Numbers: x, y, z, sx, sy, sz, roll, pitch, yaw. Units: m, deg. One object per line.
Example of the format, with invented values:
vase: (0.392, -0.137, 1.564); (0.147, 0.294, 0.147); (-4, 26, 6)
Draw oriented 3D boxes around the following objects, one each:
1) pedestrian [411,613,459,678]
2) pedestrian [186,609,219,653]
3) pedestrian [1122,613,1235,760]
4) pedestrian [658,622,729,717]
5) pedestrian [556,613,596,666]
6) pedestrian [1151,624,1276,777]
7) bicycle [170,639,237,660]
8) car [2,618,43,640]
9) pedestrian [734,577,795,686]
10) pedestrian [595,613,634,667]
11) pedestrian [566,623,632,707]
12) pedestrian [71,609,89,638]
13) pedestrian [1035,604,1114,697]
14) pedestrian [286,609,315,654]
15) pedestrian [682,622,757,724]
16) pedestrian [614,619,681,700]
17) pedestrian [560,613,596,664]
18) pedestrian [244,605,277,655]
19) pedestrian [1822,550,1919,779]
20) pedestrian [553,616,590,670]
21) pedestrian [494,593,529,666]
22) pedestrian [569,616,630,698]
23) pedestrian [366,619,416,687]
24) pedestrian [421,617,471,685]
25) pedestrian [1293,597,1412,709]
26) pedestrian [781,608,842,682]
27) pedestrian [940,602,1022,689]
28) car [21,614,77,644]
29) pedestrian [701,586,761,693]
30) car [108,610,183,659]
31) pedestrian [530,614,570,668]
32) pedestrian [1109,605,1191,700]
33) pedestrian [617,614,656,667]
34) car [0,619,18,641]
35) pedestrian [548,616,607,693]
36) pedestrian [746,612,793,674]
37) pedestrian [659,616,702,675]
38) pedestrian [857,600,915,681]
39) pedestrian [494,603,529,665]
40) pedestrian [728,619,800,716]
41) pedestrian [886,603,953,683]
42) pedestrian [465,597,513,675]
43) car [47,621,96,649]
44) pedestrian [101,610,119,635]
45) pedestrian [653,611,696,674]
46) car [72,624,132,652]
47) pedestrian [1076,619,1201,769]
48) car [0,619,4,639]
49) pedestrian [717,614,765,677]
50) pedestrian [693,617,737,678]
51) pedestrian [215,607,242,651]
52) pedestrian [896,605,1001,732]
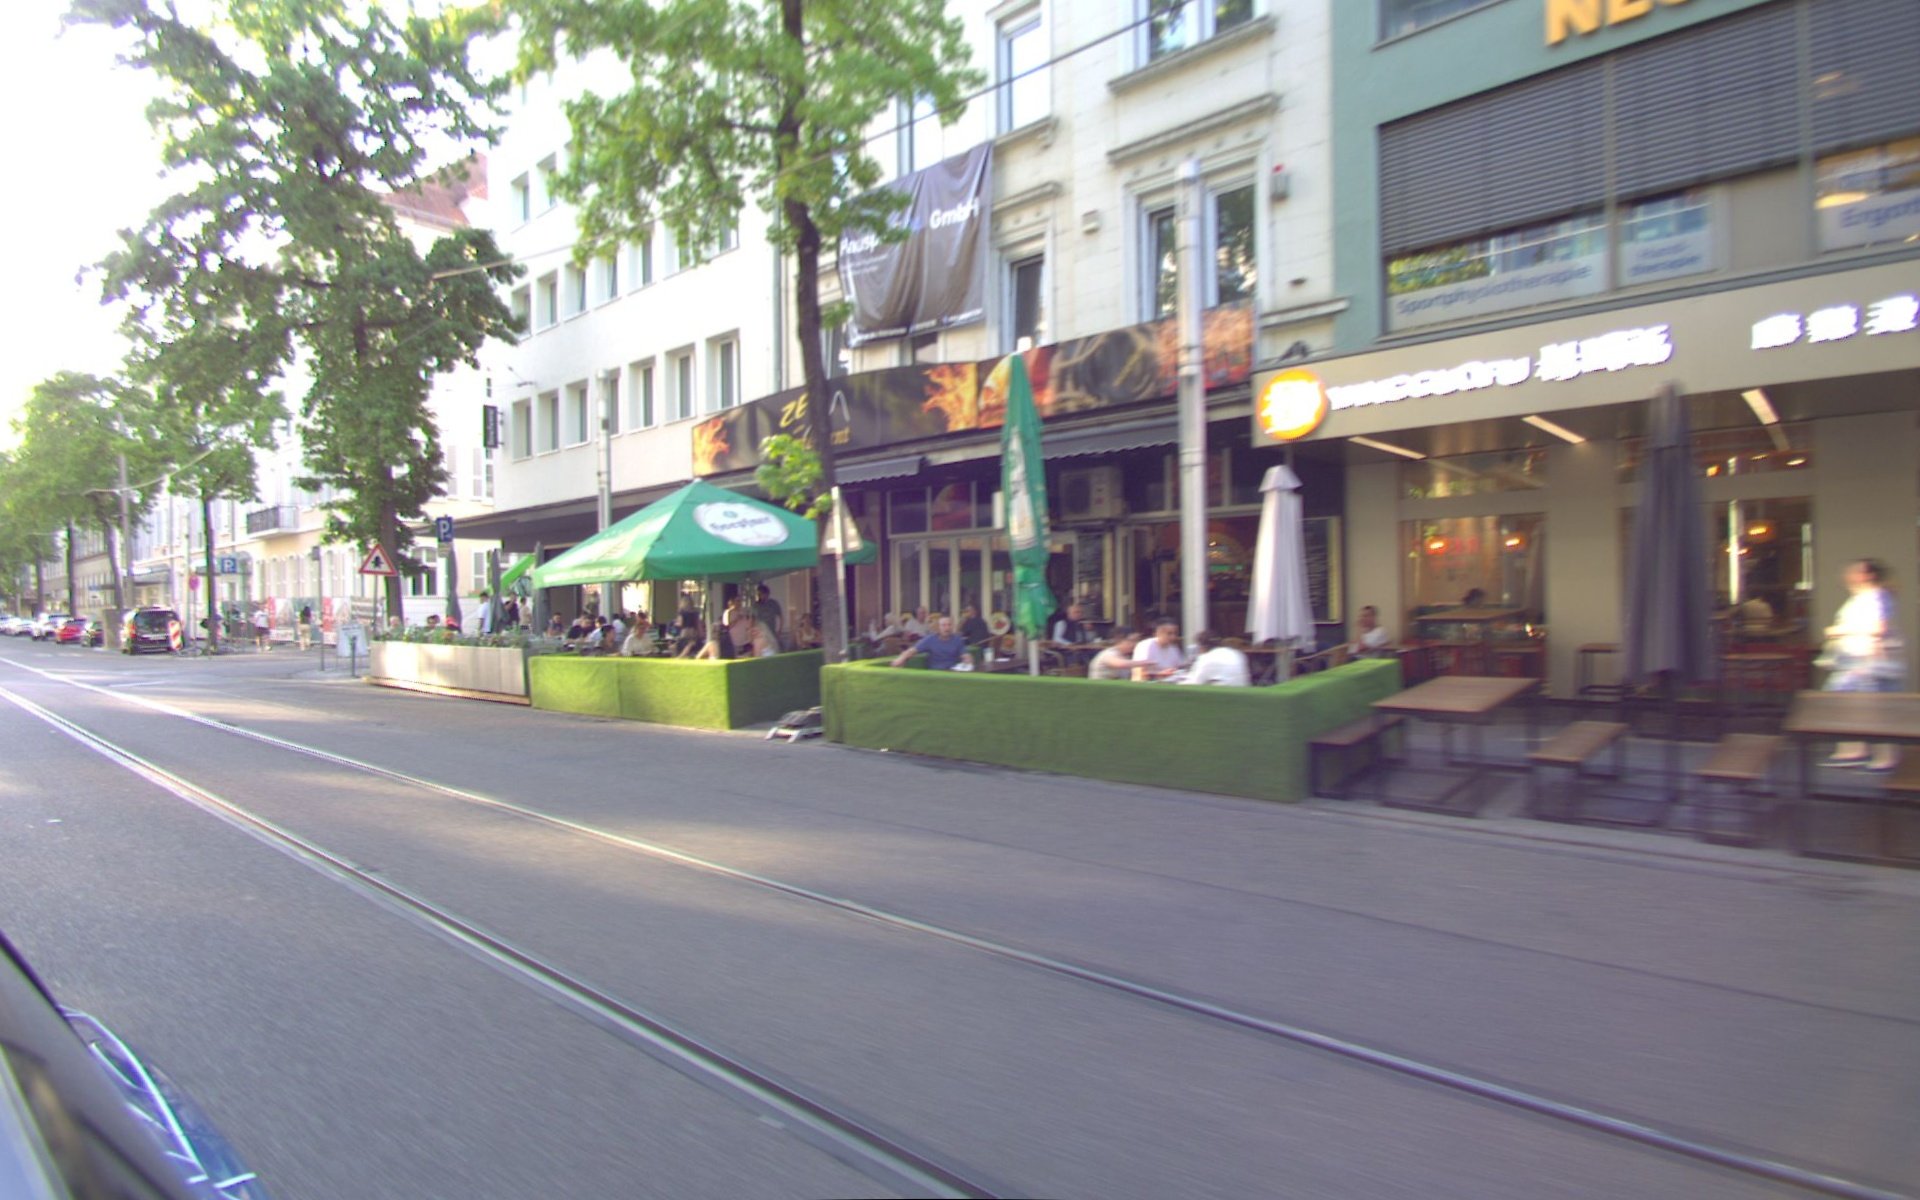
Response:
pedestrian: (-11.741, 1.002, 22.619); (0.807, 1.397, 0.682); (-1, 1, 43)
pedestrian: (-32.053, 1.305, 42.829); (0.884, 1.795, 0.856); (-1, 2, 42)
pedestrian: (2.112, 0.802, 9.772); (0.798, 1.302, 0.650); (-1, 2, 42)
pedestrian: (-3.740, 0.952, 14.190); (0.697, 1.254, 0.612); (-1, 2, 42)
pedestrian: (-9.672, 0.985, 25.509); (0.738, 1.279, 0.638); (-1, 1, 43)
pedestrian: (2.190, 0.830, 8.750); (0.798, 1.202, 0.650); (-1, 2, 42)
bicycle: (-27.241, 1.777, 36.440); (1.775, 0.613, 1.283); (-2, 1, -44)
car: (-70.663, 2.196, 76.274); (4.617, 1.477, 1.872); (-2, 2, 43)
pedestrian: (-3.301, 0.519, 17.117); (0.697, 1.770, 0.670); (-1, 1, 44)
pedestrian: (-7.900, 0.907, 23.133); (0.687, 1.170, 0.546); (-1, 1, 43)
pedestrian: (-5.846, 1.030, 16.389); (0.772, 1.269, 0.700); (-1, 1, 45)
pedestrian: (-56.410, 1.506, 64.865); (0.934, 1.755, 0.736); (-1, 2, 43)
pedestrian: (1.617, 0.696, 14.254); (0.788, 1.222, 0.729); (-1, 2, 42)
pedestrian: (-24.603, 1.170, 37.745); (0.967, 1.669, 0.699); (-3, -2, 44)
pedestrian: (-3.180, 0.942, 13.395); (0.697, 1.254, 0.612); (-1, 2, 42)
pedestrian: (-5.215, 0.972, 16.861); (0.869, 1.269, 0.700); (-1, 1, 45)
pedestrian: (-9.593, 0.965, 25.421); (0.687, 1.245, 0.546); (-1, 1, 43)
pedestrian: (-26.356, 1.134, 38.151); (0.984, 1.805, 0.766); (-1, 2, 44)
pedestrian: (6.772, 0.440, 7.379); (0.700, 1.586, 0.640); (-1, 2, 42)
pedestrian: (-9.388, 1.026, 24.434); (0.687, 1.245, 0.546); (-1, 1, 43)
pedestrian: (-11.703, 0.756, 26.412); (0.675, 1.829, 0.766); (-3, 1, -32)
pedestrian: (-6.305, 0.976, 17.702); (0.781, 1.357, 0.700); (-1, 1, 45)
pedestrian: (-12.286, 1.128, 21.846); (0.807, 1.397, 0.682); (-1, 1, 43)
pedestrian: (-10.973, 1.071, 21.594); (0.807, 1.397, 0.682); (-1, 1, 43)
pedestrian: (4.582, 0.591, 11.812); (1.065, 1.197, 0.745); (-1, 2, 42)
pedestrian: (-2.614, 0.783, 17.849); (0.798, 1.251, 0.662); (-1, 1, 42)
pedestrian: (0.329, 0.692, 15.785); (0.945, 1.246, 0.769); (-1, 2, 42)
car: (-57.408, 1.811, 63.759); (4.946, 1.701, 1.847); (-1, 2, 39)
pedestrian: (-3.740, 0.638, 16.539); (0.697, 1.683, 0.612); (-1, 1, 42)
car: (-33.792, 1.404, 41.941); (4.560, 1.846, 1.837); (-1, 0, 44)
pedestrian: (-10.167, 1.010, 25.076); (0.727, 1.291, 0.620); (-1, 1, 43)
pedestrian: (2.537, 0.678, 13.499); (0.788, 1.176, 0.693); (-1, 2, 42)
pedestrian: (-7.493, 0.934, 23.423); (0.687, 1.170, 0.546); (-1, 1, 43)
car: (-84.926, 2.686, 89.504); (4.765, 1.754, 1.927); (-2, 2, 42)
pedestrian: (-6.928, 0.965, 18.321); (0.807, 1.321, 0.682); (-1, 1, 43)
pedestrian: (-3.782, 0.846, 20.120); (0.687, 1.167, 0.595); (-1, 1, 43)
pedestrian: (-5.770, 0.934, 20.888); (0.687, 1.170, 0.546); (-1, 1, 43)
pedestrian: (-1.271, 0.687, 17.395); (0.697, 1.319, 0.612); (-1, 2, 42)
pedestrian: (-13.107, 0.981, 29.585); (0.851, 1.754, 0.800); (-1, -1, -29)
pedestrian: (-2.707, 0.918, 13.991); (0.697, 1.254, 0.612); (-1, 2, 42)
pedestrian: (-0.674, 0.706, 16.842); (0.788, 1.241, 0.729); (-1, 2, 42)
pedestrian: (-11.199, 0.846, 24.048); (0.686, 1.805, 0.749); (-2, 1, 39)
car: (-50.190, 1.932, 57.160); (4.141, 1.416, 1.642); (-1, 2, 43)
pedestrian: (-55.167, 1.457, 65.664); (0.933, 1.592, 0.736); (-1, 2, 43)
pedestrian: (-6.187, 0.918, 21.931); (0.687, 1.308, 0.595); (-1, 1, 43)
car: (-43.551, 1.901, 51.322); (4.507, 1.254, 1.700); (-1, 2, 42)
pedestrian: (1.635, 0.824, 9.272); (0.872, 1.253, 0.650); (-1, 2, 42)
car: (-95.734, 2.887, 99.727); (4.765, 1.972, 1.906); (-2, -1, 42)
pedestrian: (-4.257, 0.872, 19.650); (0.687, 1.182, 0.595); (-1, 1, 43)
pedestrian: (-4.900, 0.945, 20.239); (0.687, 1.170, 0.546); (-1, 1, 43)
pedestrian: (-31.444, 1.236, 43.498); (0.876, 1.826, 0.711); (-1, 2, 42)
pedestrian: (-0.132, 0.761, 11.680); (0.872, 1.353, 0.746); (-1, 2, 42)
